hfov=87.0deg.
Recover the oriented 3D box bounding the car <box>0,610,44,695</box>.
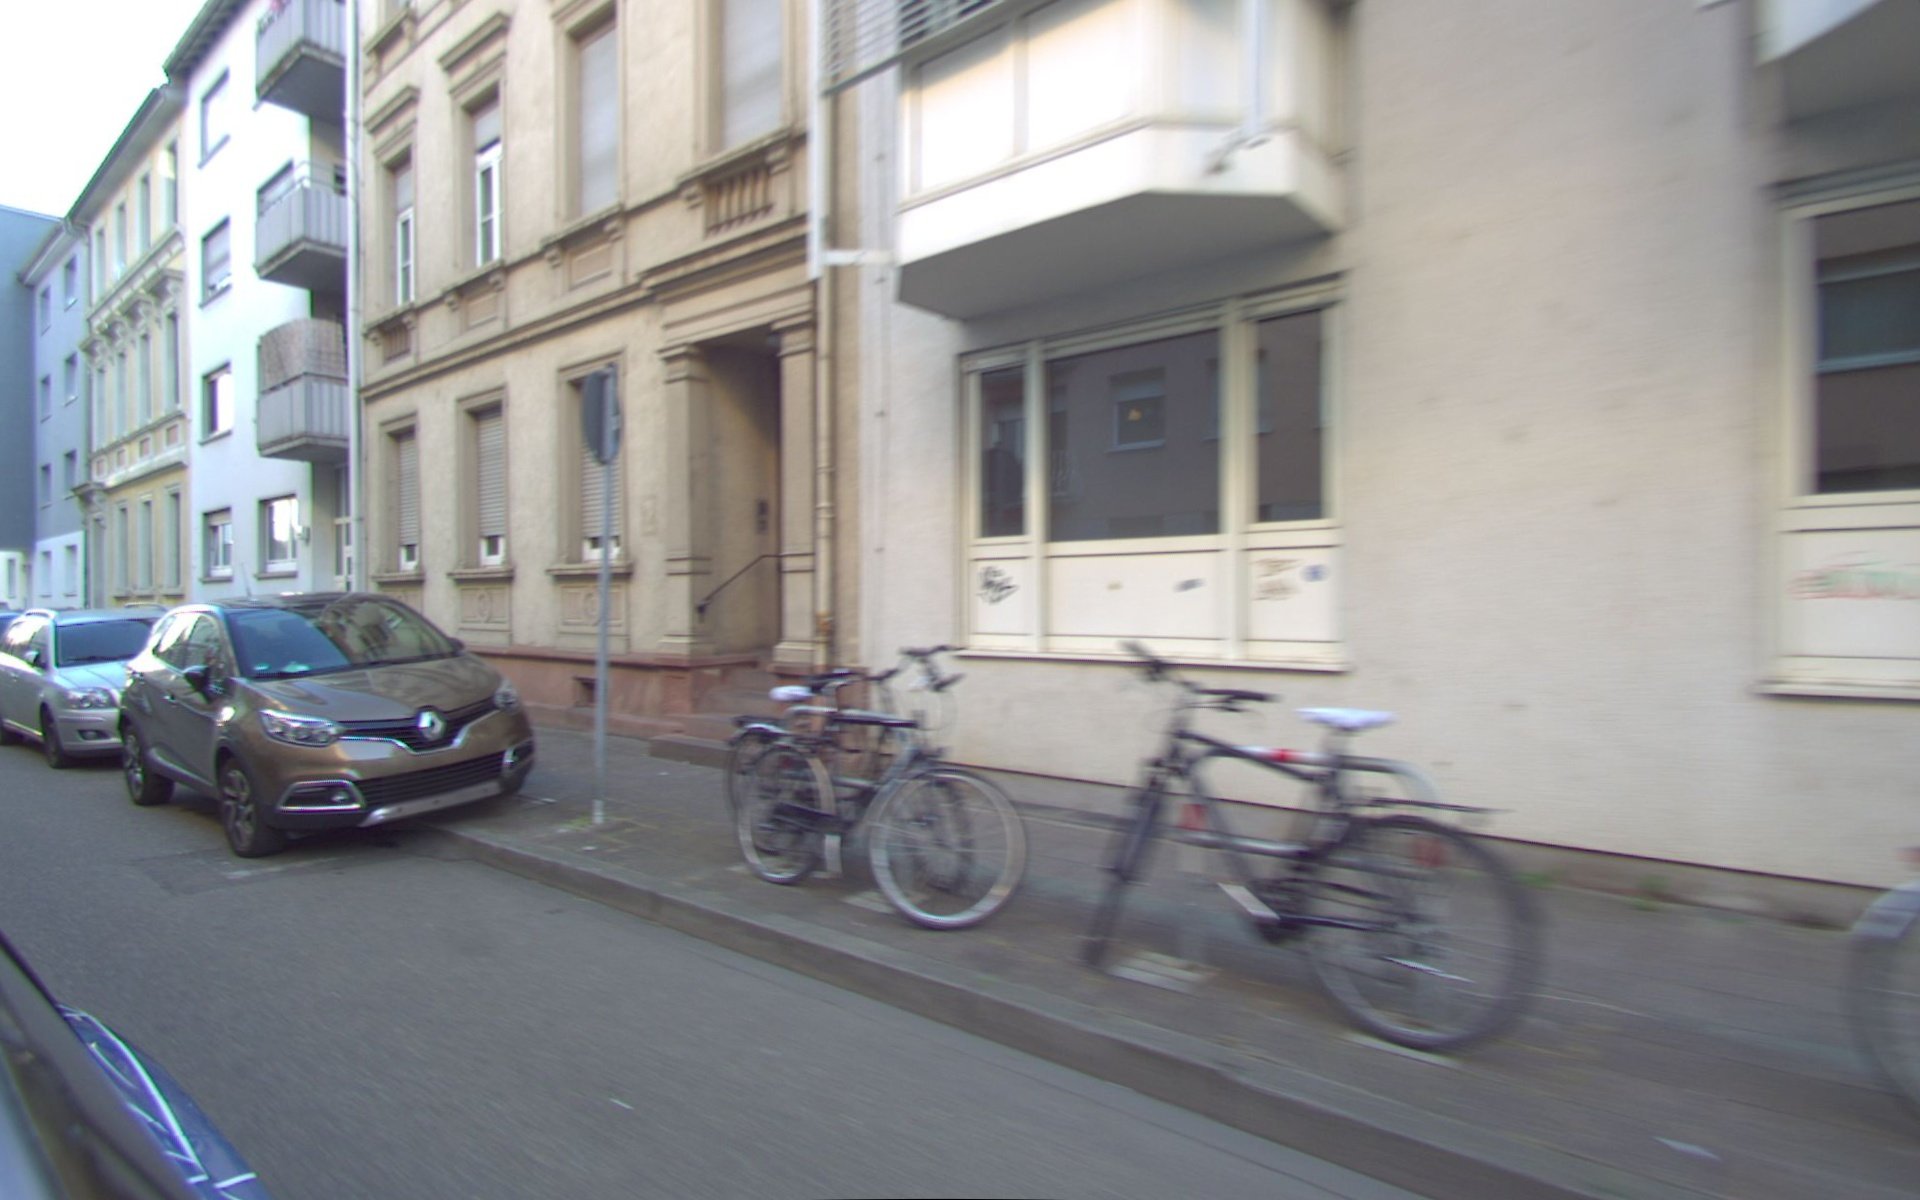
[{"bbox_3d":[-18.578,0.944,18.973,3.786,1.500,1.621,-1,-1,40],"label":"car"}]

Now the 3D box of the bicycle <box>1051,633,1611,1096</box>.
[{"bbox_3d":[1.138,0.744,3.475,1.812,1.232,0.304,-1,0,41],"label":"bicycle"}]

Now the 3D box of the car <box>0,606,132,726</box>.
[{"bbox_3d":[-13.825,0.875,14.895,4.491,1.551,1.772,-1,-1,40],"label":"car"}]

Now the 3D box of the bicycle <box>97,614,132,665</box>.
[{"bbox_3d":[-19.188,0.874,22.951,1.543,1.123,0.377,-1,-1,42],"label":"bicycle"}]

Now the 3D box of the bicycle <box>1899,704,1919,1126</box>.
[{"bbox_3d":[3.211,0.808,2.112,1.812,1.050,0.304,-1,0,41],"label":"bicycle"}]

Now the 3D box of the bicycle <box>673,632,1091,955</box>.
[{"bbox_3d":[-0.483,0.774,4.856,2.264,1.196,0.589,-1,0,41],"label":"bicycle"}]

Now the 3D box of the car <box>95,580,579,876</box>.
[{"bbox_3d":[-4.709,0.706,7.422,4.066,1.588,1.773,-1,-1,39],"label":"car"}]

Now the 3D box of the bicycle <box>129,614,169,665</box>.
[{"bbox_3d":[-16.886,0.808,21.058,1.541,1.016,0.289,-1,-1,37],"label":"bicycle"}]

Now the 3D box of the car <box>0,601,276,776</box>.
[{"bbox_3d":[-9.266,0.801,11.047,4.429,1.551,1.773,-1,-1,39],"label":"car"}]
